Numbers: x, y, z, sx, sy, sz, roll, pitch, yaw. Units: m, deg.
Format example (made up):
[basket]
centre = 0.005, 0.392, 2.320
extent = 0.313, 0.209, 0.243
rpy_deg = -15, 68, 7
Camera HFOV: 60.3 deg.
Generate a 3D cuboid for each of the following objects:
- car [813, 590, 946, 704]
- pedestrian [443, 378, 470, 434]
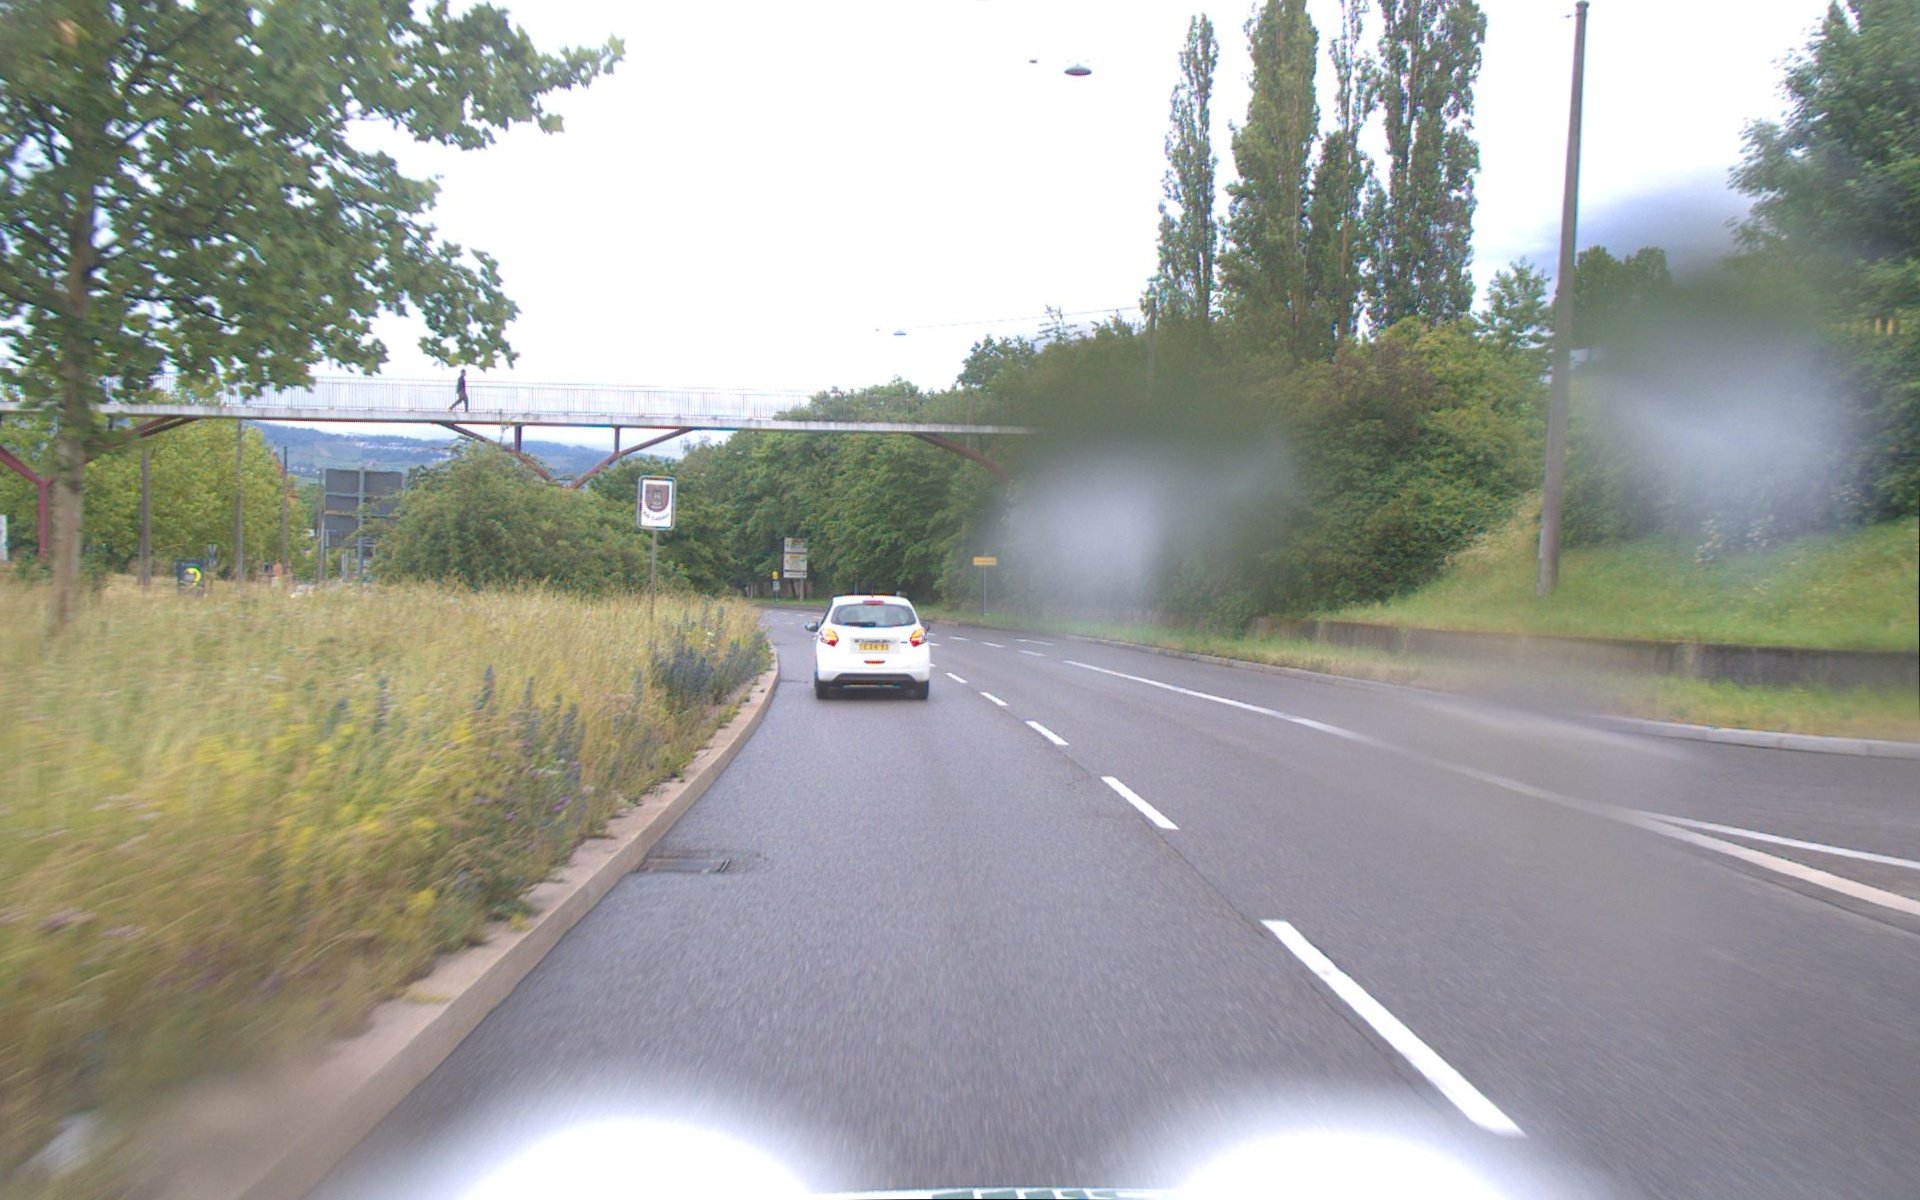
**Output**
[car]
centre = -1.263, 0.645, 25.205
extent = 1.832, 1.537, 3.897
rpy_deg = 2, 0, -4
[pedestrian]
centre = -20.139, -7.751, 66.163
extent = 0.898, 2.181, 0.729
rpy_deg = -2, 0, -13
